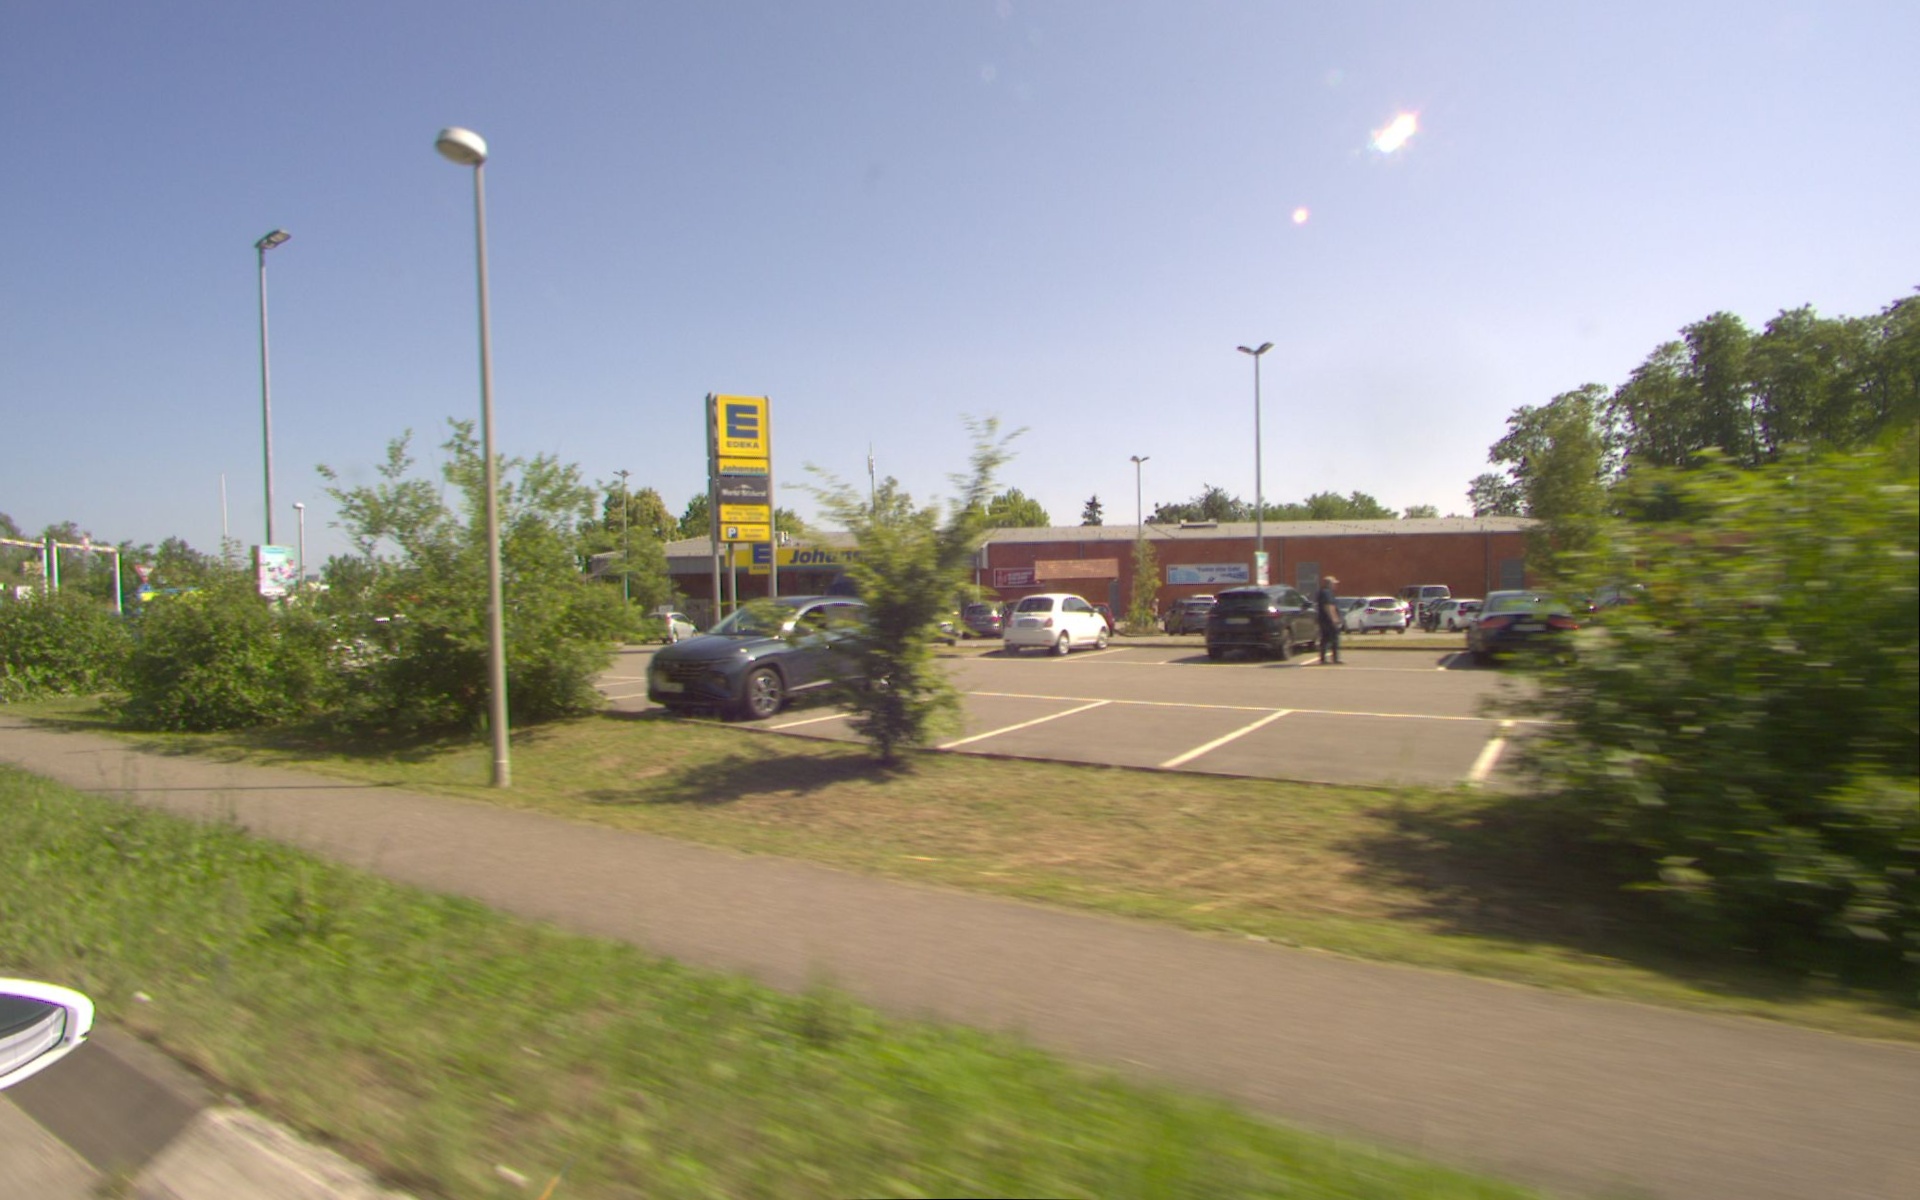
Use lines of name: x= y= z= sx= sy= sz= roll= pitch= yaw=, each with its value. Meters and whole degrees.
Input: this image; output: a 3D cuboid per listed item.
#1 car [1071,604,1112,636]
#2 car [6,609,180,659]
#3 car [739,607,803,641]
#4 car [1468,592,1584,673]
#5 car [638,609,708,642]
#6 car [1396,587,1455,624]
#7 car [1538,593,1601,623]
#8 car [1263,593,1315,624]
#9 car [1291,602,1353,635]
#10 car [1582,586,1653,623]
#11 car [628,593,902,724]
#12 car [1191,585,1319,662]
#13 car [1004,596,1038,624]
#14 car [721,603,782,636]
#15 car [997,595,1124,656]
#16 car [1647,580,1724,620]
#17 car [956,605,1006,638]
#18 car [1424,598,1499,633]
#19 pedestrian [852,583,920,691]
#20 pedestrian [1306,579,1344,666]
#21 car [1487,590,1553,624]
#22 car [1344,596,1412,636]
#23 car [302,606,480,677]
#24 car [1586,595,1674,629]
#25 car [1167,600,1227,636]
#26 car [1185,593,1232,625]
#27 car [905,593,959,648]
car: x=5.974 y=0.873 z=45.842 sx=1.682 sy=1.416 sz=3.999 roll=0 pitch=0 yaw=5
car: x=-29.713 y=1.128 z=34.517 sx=4.374 sy=1.592 sz=1.703 roll=0 pitch=0 yaw=-37
car: x=-8.659 y=1.075 z=46.099 sx=1.684 sy=1.517 sz=3.489 roll=0 pitch=0 yaw=13
car: x=11.206 y=0.576 z=20.048 sx=1.721 sy=1.446 sz=3.986 roll=0 pitch=0 yaw=25
car: x=-13.460 y=1.151 z=47.118 sx=1.684 sy=1.477 sz=3.489 roll=0 pitch=0 yaw=13
car: x=27.111 y=0.320 z=58.411 sx=1.961 sy=2.040 sz=3.999 roll=-1 pitch=0 yaw=7
car: x=35.574 y=0.459 z=58.550 sx=1.748 sy=1.662 sz=3.771 roll=-1 pitch=1 yaw=8
car: x=19.875 y=0.505 z=60.640 sx=1.961 sy=1.840 sz=3.999 roll=0 pitch=0 yaw=2
car: x=15.991 y=0.804 z=44.442 sx=1.962 sy=1.372 sz=3.997 roll=0 pitch=0 yaw=11
car: x=38.250 y=0.252 z=58.340 sx=1.962 sy=2.040 sz=3.998 roll=0 pitch=0 yaw=9
car: x=-2.770 y=0.748 z=15.149 sx=1.727 sy=1.649 sz=4.109 roll=0 pitch=1 yaw=32
car: x=6.917 y=0.498 z=23.177 sx=1.970 sy=1.595 sz=4.148 roll=0 pitch=0 yaw=30
car: x=3.712 y=0.593 z=61.288 sx=1.961 sy=1.706 sz=3.999 roll=0 pitch=0 yaw=2
car: x=-10.639 y=0.978 z=51.434 sx=1.876 sy=1.644 sz=3.999 roll=0 pitch=0 yaw=7
car: x=2.705 y=0.606 z=26.212 sx=1.628 sy=1.461 sz=3.975 roll=0 pitch=0 yaw=34
car: x=42.199 y=0.017 z=58.361 sx=1.962 sy=2.276 sz=4.022 roll=0 pitch=0 yaw=9
car: x=0.998 y=0.934 z=45.308 sx=1.944 sy=1.439 sz=3.999 roll=0 pitch=0 yaw=6
car: x=21.838 y=0.666 z=43.736 sx=1.855 sy=1.416 sz=3.998 roll=0 pitch=0 yaw=10
pedestrian: x=-1.291 y=0.627 z=17.515 sx=0.854 sy=1.821 sz=0.816 roll=0 pitch=1 yaw=34
pedestrian: x=7.438 y=0.443 z=20.388 sx=0.700 sy=1.728 sz=0.756 roll=0 pitch=1 yaw=21
car: x=32.646 y=0.397 z=58.484 sx=1.961 sy=1.907 sz=3.998 roll=-1 pitch=0 yaw=7
car: x=18.264 y=0.658 z=43.930 sx=1.962 sy=1.684 sz=3.997 roll=0 pitch=0 yaw=11
car: x=-14.624 y=1.006 z=25.907 sx=1.787 sy=1.583 sz=3.587 roll=0 pitch=1 yaw=31
car: x=32.296 y=0.553 z=48.377 sx=1.765 sy=1.539 sz=3.999 roll=-1 pitch=1 yaw=4
car: x=10.446 y=0.765 z=44.381 sx=1.930 sy=1.506 sz=3.999 roll=0 pitch=0 yaw=4
car: x=15.033 y=0.521 z=60.763 sx=1.961 sy=1.840 sz=3.999 roll=0 pitch=0 yaw=2
car: x=-0.898 y=0.611 z=31.848 sx=1.629 sy=1.609 sz=3.999 roll=0 pitch=0 yaw=-2
